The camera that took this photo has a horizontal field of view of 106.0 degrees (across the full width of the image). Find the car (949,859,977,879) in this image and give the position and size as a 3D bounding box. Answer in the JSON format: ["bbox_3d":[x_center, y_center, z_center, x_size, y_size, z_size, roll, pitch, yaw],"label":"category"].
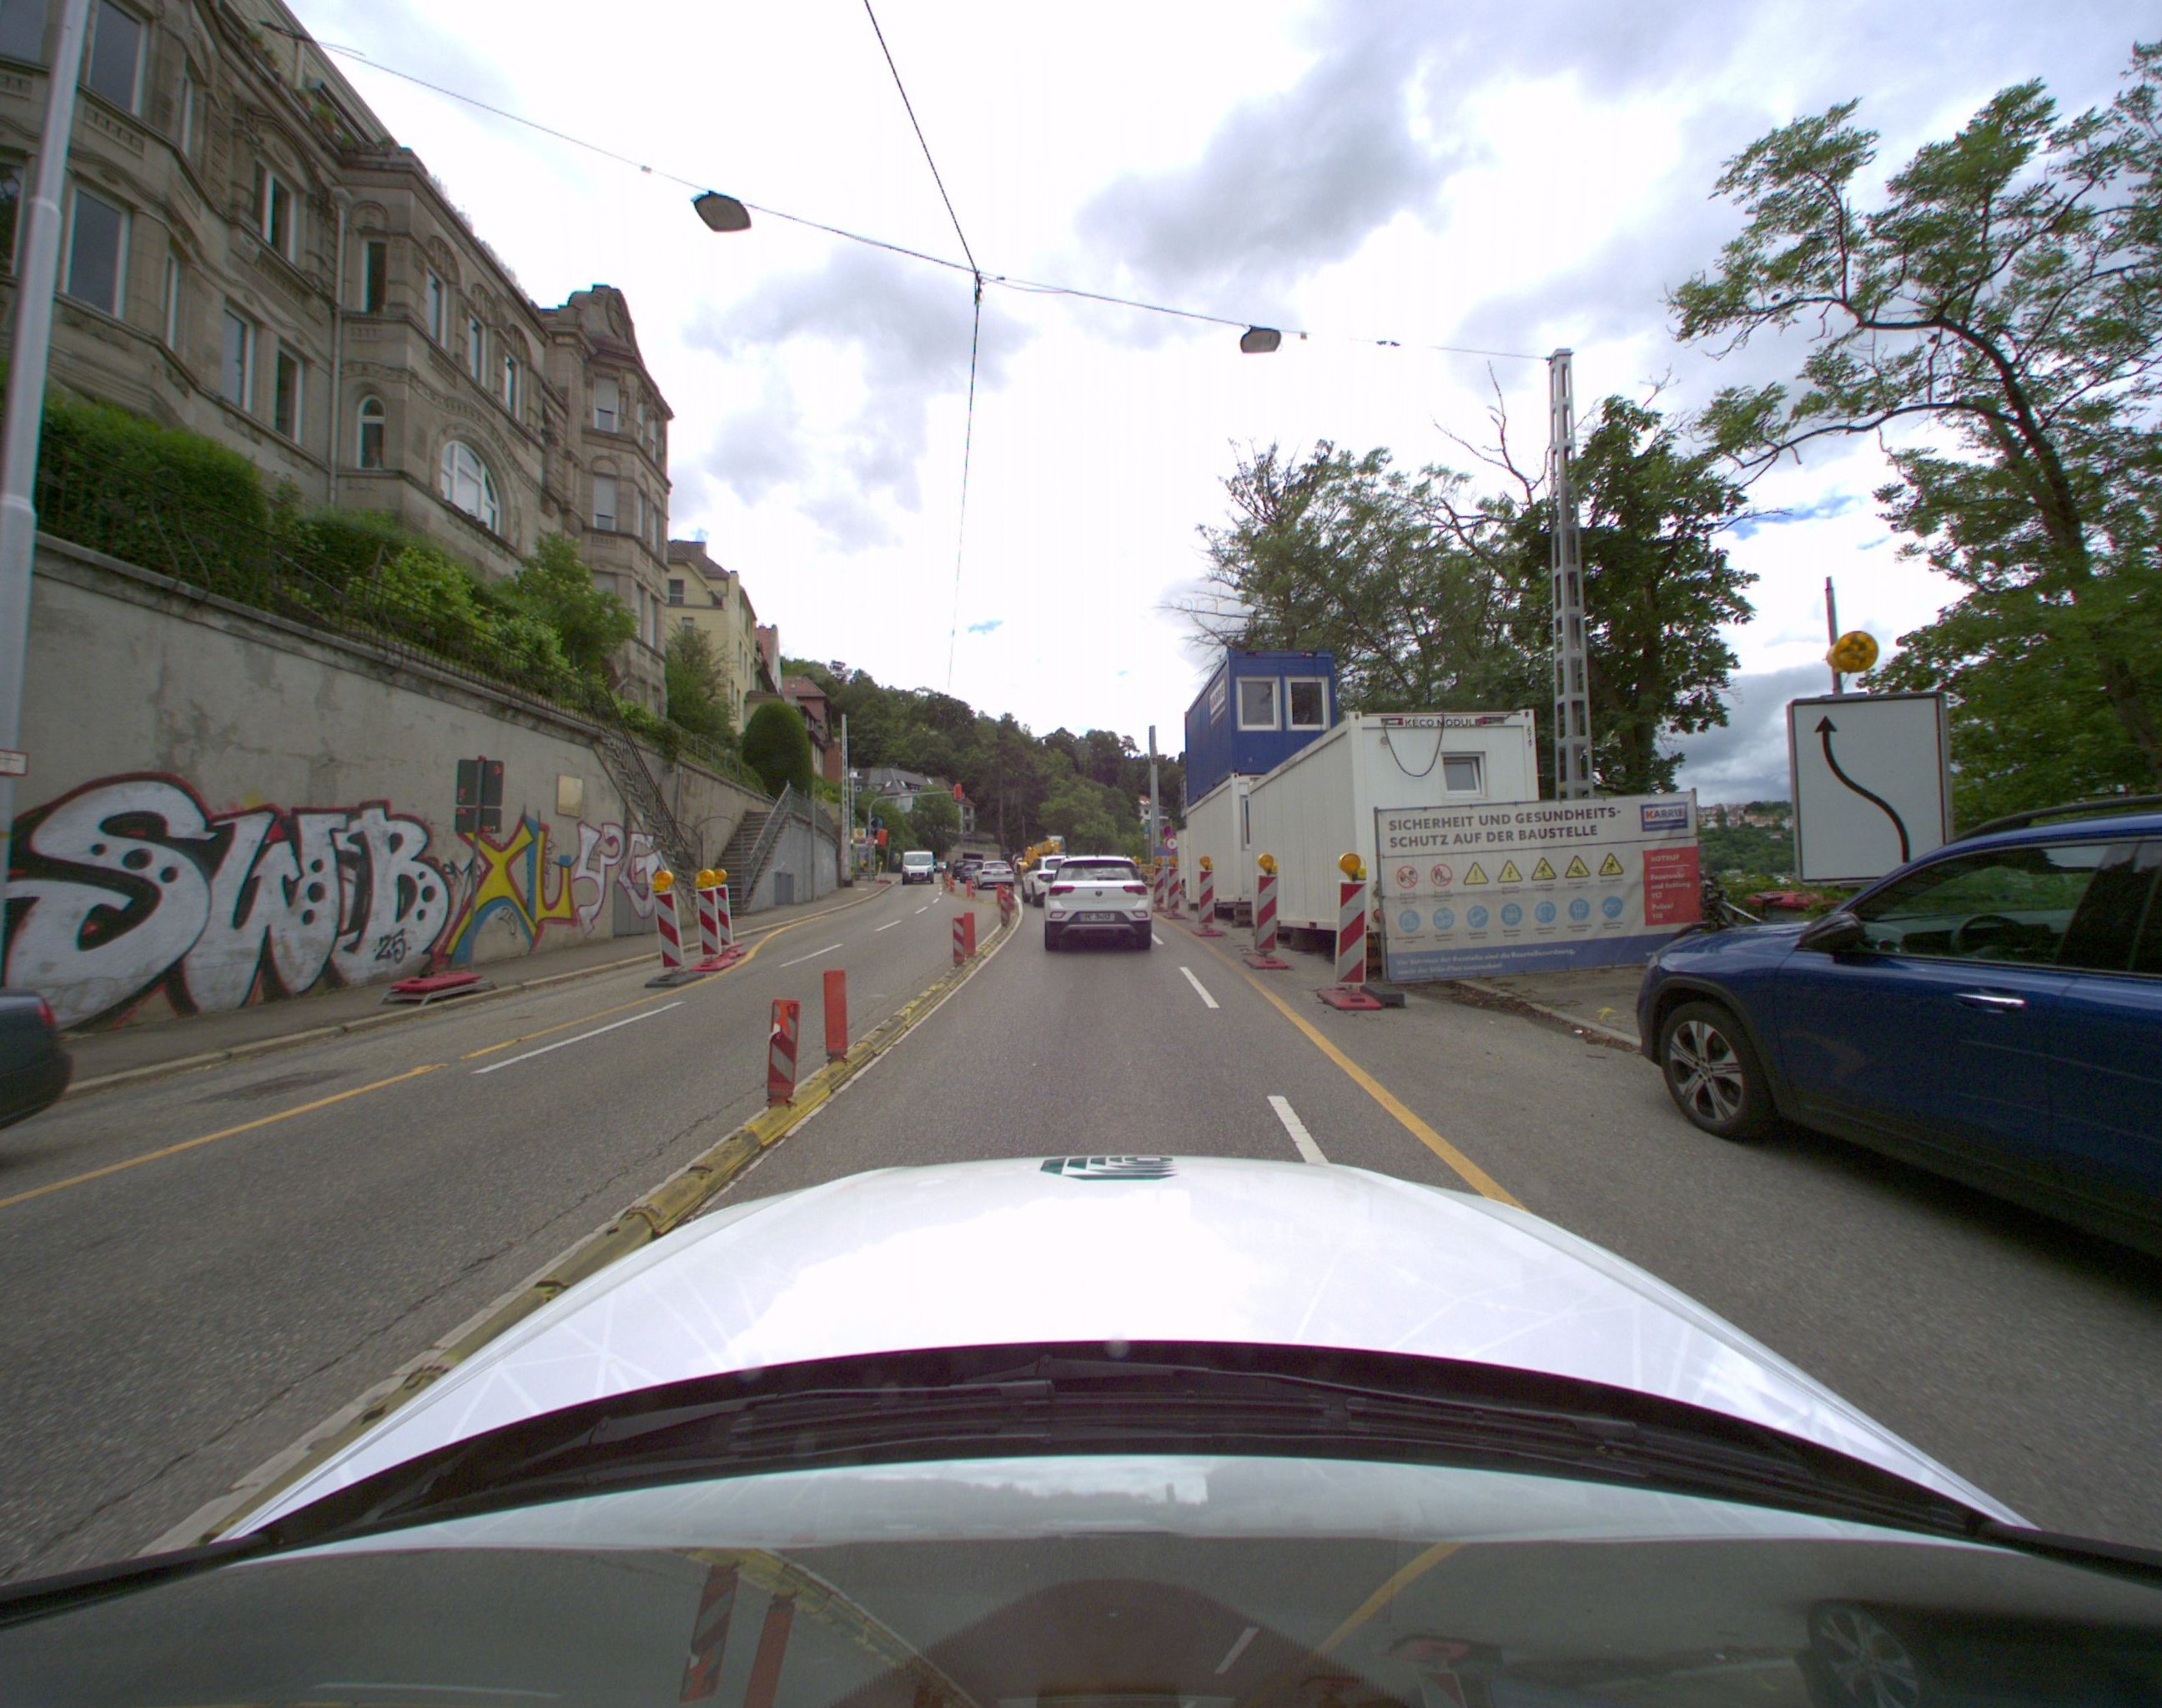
[{"bbox_3d":[-9.662,1.204,66.407,1.797,1.510,3.981,-2,0,-14],"label":"car"}]

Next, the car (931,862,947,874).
[{"bbox_3d":[-17.591,1.671,101.003,1.670,1.430,3.579,-1,0,-6],"label":"car"}]

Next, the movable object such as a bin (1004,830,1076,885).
[{"bbox_3d":[-2.643,0.224,49.741,2.816,3.071,7.782,0,0,-15],"label":"movable object such as a bin"}]

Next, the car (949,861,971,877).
[{"bbox_3d":[-12.254,1.451,82.017,1.797,1.510,3.981,-2,0,-14],"label":"car"}]

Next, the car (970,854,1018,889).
[{"bbox_3d":[-4.613,0.905,42.539,1.813,1.663,3.978,-2,0,-16],"label":"car"}]

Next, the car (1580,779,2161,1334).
[{"bbox_3d":[4.079,0.543,2.902,1.833,1.642,4.504,-4,0,1],"label":"car"}]

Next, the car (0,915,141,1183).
[{"bbox_3d":[-6.768,1.108,2.778,1.791,1.373,4.393,-4,0,4],"label":"car"}]

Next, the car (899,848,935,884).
[{"bbox_3d":[-10.991,0.787,54.856,2.066,2.187,4.947,-3,0,-9],"label":"car"}]

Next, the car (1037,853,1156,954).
[{"bbox_3d":[0.335,0.776,14.730,1.802,1.531,4.003,-2,0,3],"label":"car"}]

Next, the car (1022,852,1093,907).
[{"bbox_3d":[-0.862,0.800,27.342,1.810,1.663,3.986,-2,0,-10],"label":"car"}]

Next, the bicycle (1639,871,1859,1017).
[{"bbox_3d":[6.001,0.747,7.468,0.497,1.107,1.800,-4,0,1],"label":"bicycle"}]

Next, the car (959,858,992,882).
[{"bbox_3d":[-7.091,1.066,54.401,1.796,1.510,3.981,-2,0,-13],"label":"car"}]

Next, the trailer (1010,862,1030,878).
[{"bbox_3d":[-5.831,1.487,77.905,1.291,1.475,3.615,0,0,-15],"label":"trailer"}]

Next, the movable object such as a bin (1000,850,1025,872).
[{"bbox_3d":[-8.640,0.833,102.732,2.200,2.663,4.953,0,0,6],"label":"movable object such as a bin"}]

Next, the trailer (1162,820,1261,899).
[{"bbox_3d":[4.613,0.188,29.646,2.105,2.550,5.105,-3,0,-7],"label":"trailer"}]

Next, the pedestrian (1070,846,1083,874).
[{"bbox_3d":[-0.275,0.400,53.667,0.692,1.795,0.535,0,0,-24],"label":"pedestrian"}]

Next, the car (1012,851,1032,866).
[{"bbox_3d":[-6.205,0.533,85.626,1.793,1.510,3.989,-1,-1,-7],"label":"car"}]
